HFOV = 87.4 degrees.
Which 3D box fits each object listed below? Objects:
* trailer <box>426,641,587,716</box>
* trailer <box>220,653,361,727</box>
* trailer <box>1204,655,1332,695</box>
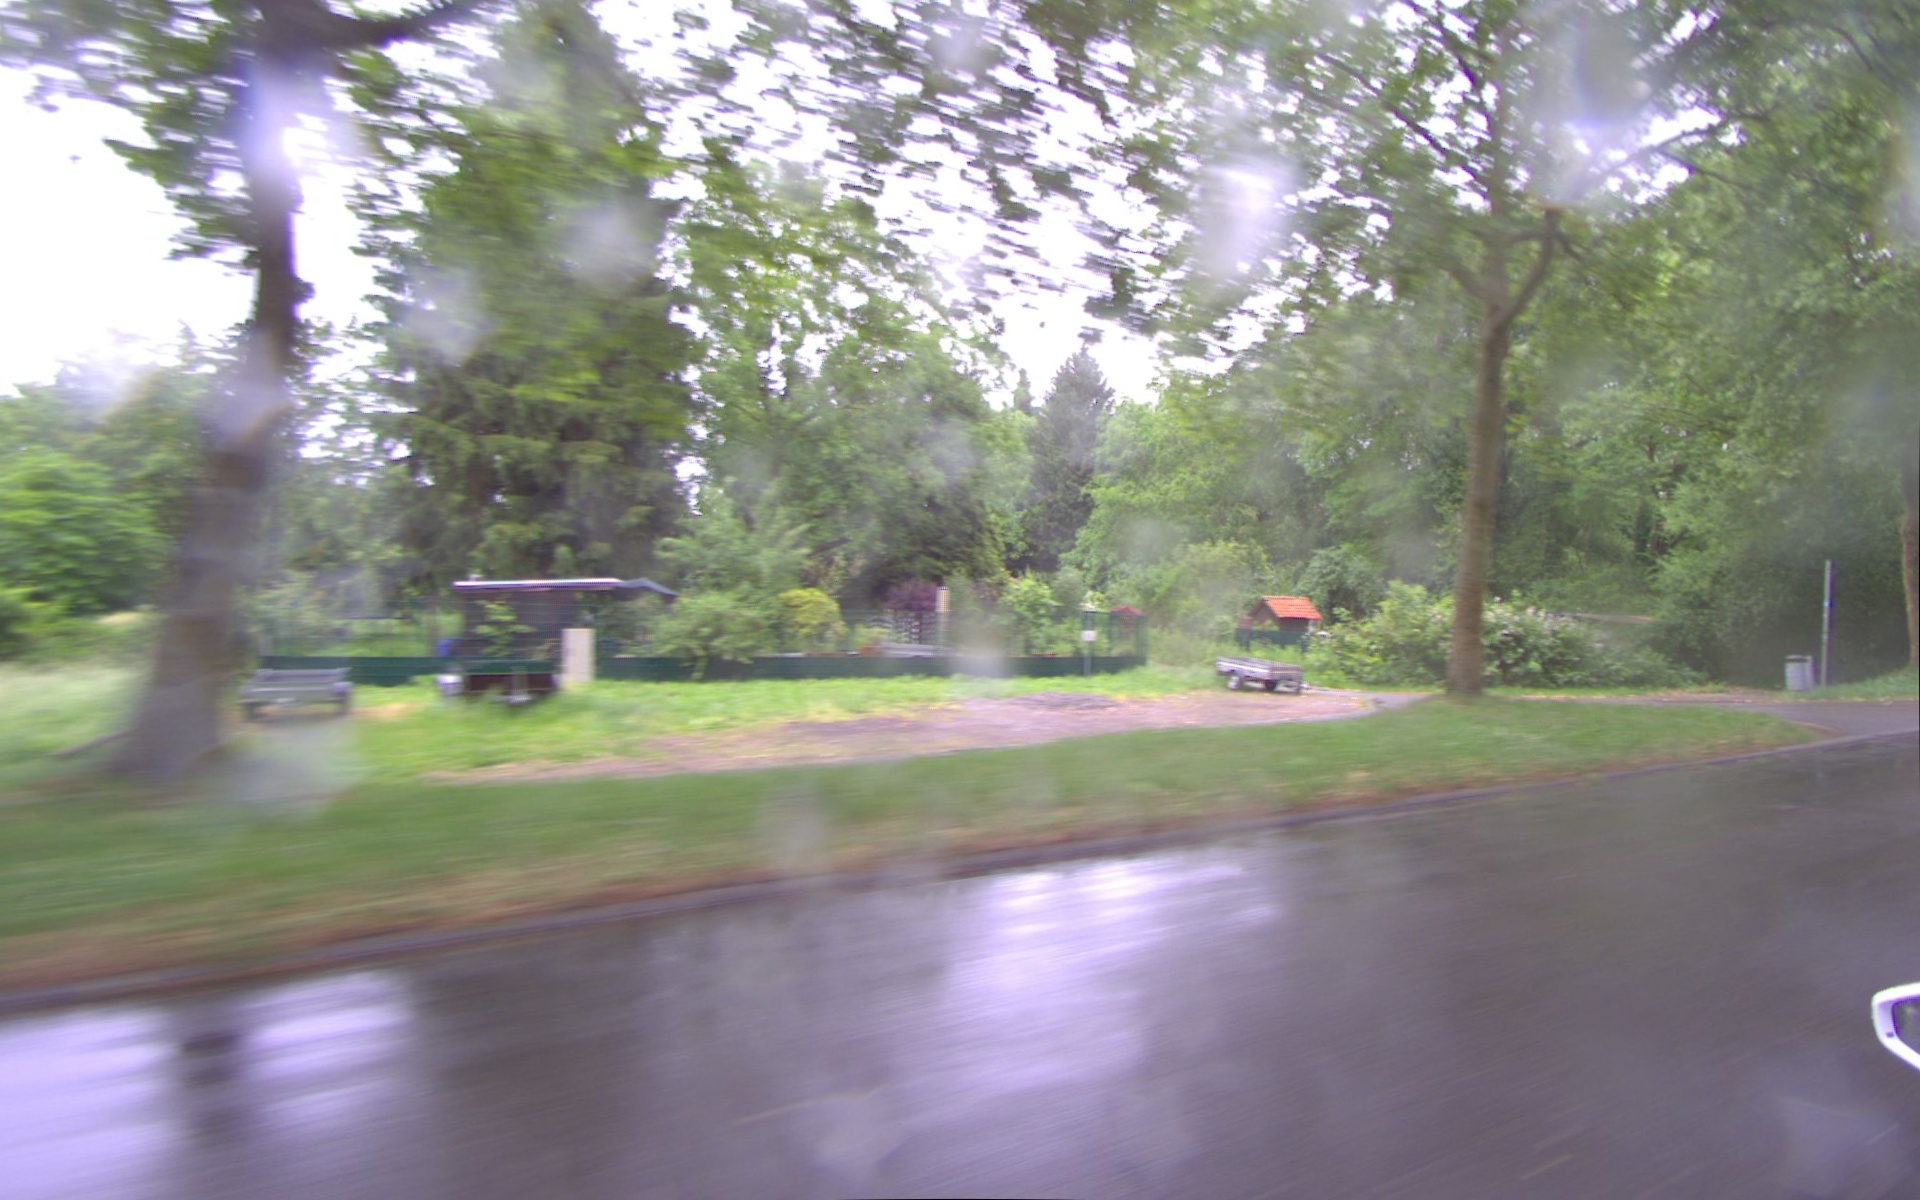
[{"bbox_3d":[-8.851,1.435,19.376,2.355,1.046,4.294,2,0,-31],"label":"trailer"},{"bbox_3d":[-11.287,1.465,17.117,1.748,0.957,3.061,2,0,-30],"label":"trailer"},{"bbox_3d":[8.218,1.989,27.023,1.656,0.849,3.017,2,0,-27],"label":"trailer"}]
